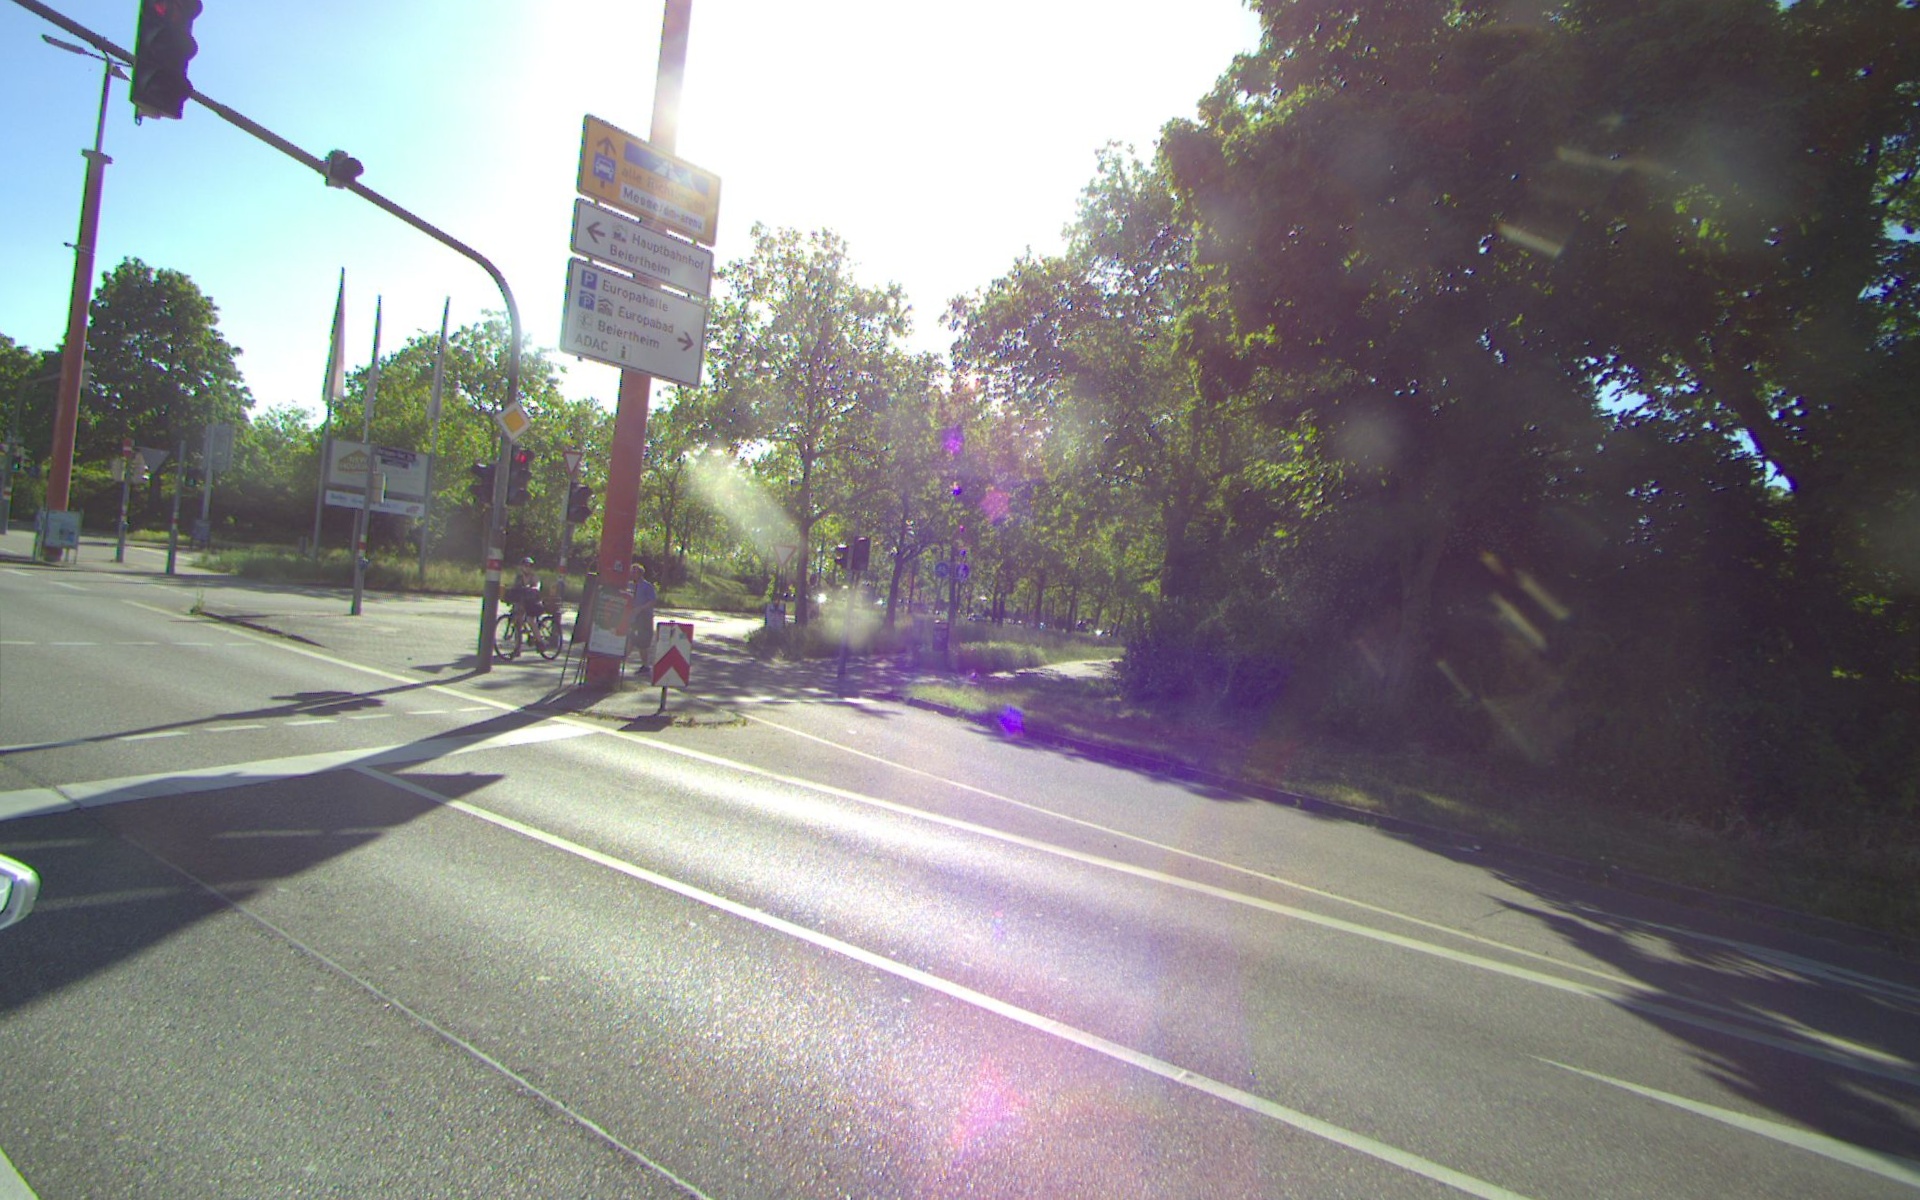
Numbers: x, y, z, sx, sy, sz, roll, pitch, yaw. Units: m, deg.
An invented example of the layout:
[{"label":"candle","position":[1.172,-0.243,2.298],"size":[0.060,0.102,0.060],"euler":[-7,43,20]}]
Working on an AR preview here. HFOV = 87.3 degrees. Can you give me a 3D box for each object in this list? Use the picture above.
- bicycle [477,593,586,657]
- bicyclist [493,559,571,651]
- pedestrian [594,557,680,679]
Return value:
[{"label":"bicycle","position":[-6.809,0.404,16.132],"size":[0.549,0.889,2.170],"euler":[7,-1,6]},{"label":"bicyclist","position":[-6.857,0.088,16.130],"size":[0.695,1.358,0.742],"euler":[7,0,21]},{"label":"pedestrian","position":[-5.198,0.294,16.230],"size":[0.884,1.810,0.894],"euler":[7,0,0]}]
